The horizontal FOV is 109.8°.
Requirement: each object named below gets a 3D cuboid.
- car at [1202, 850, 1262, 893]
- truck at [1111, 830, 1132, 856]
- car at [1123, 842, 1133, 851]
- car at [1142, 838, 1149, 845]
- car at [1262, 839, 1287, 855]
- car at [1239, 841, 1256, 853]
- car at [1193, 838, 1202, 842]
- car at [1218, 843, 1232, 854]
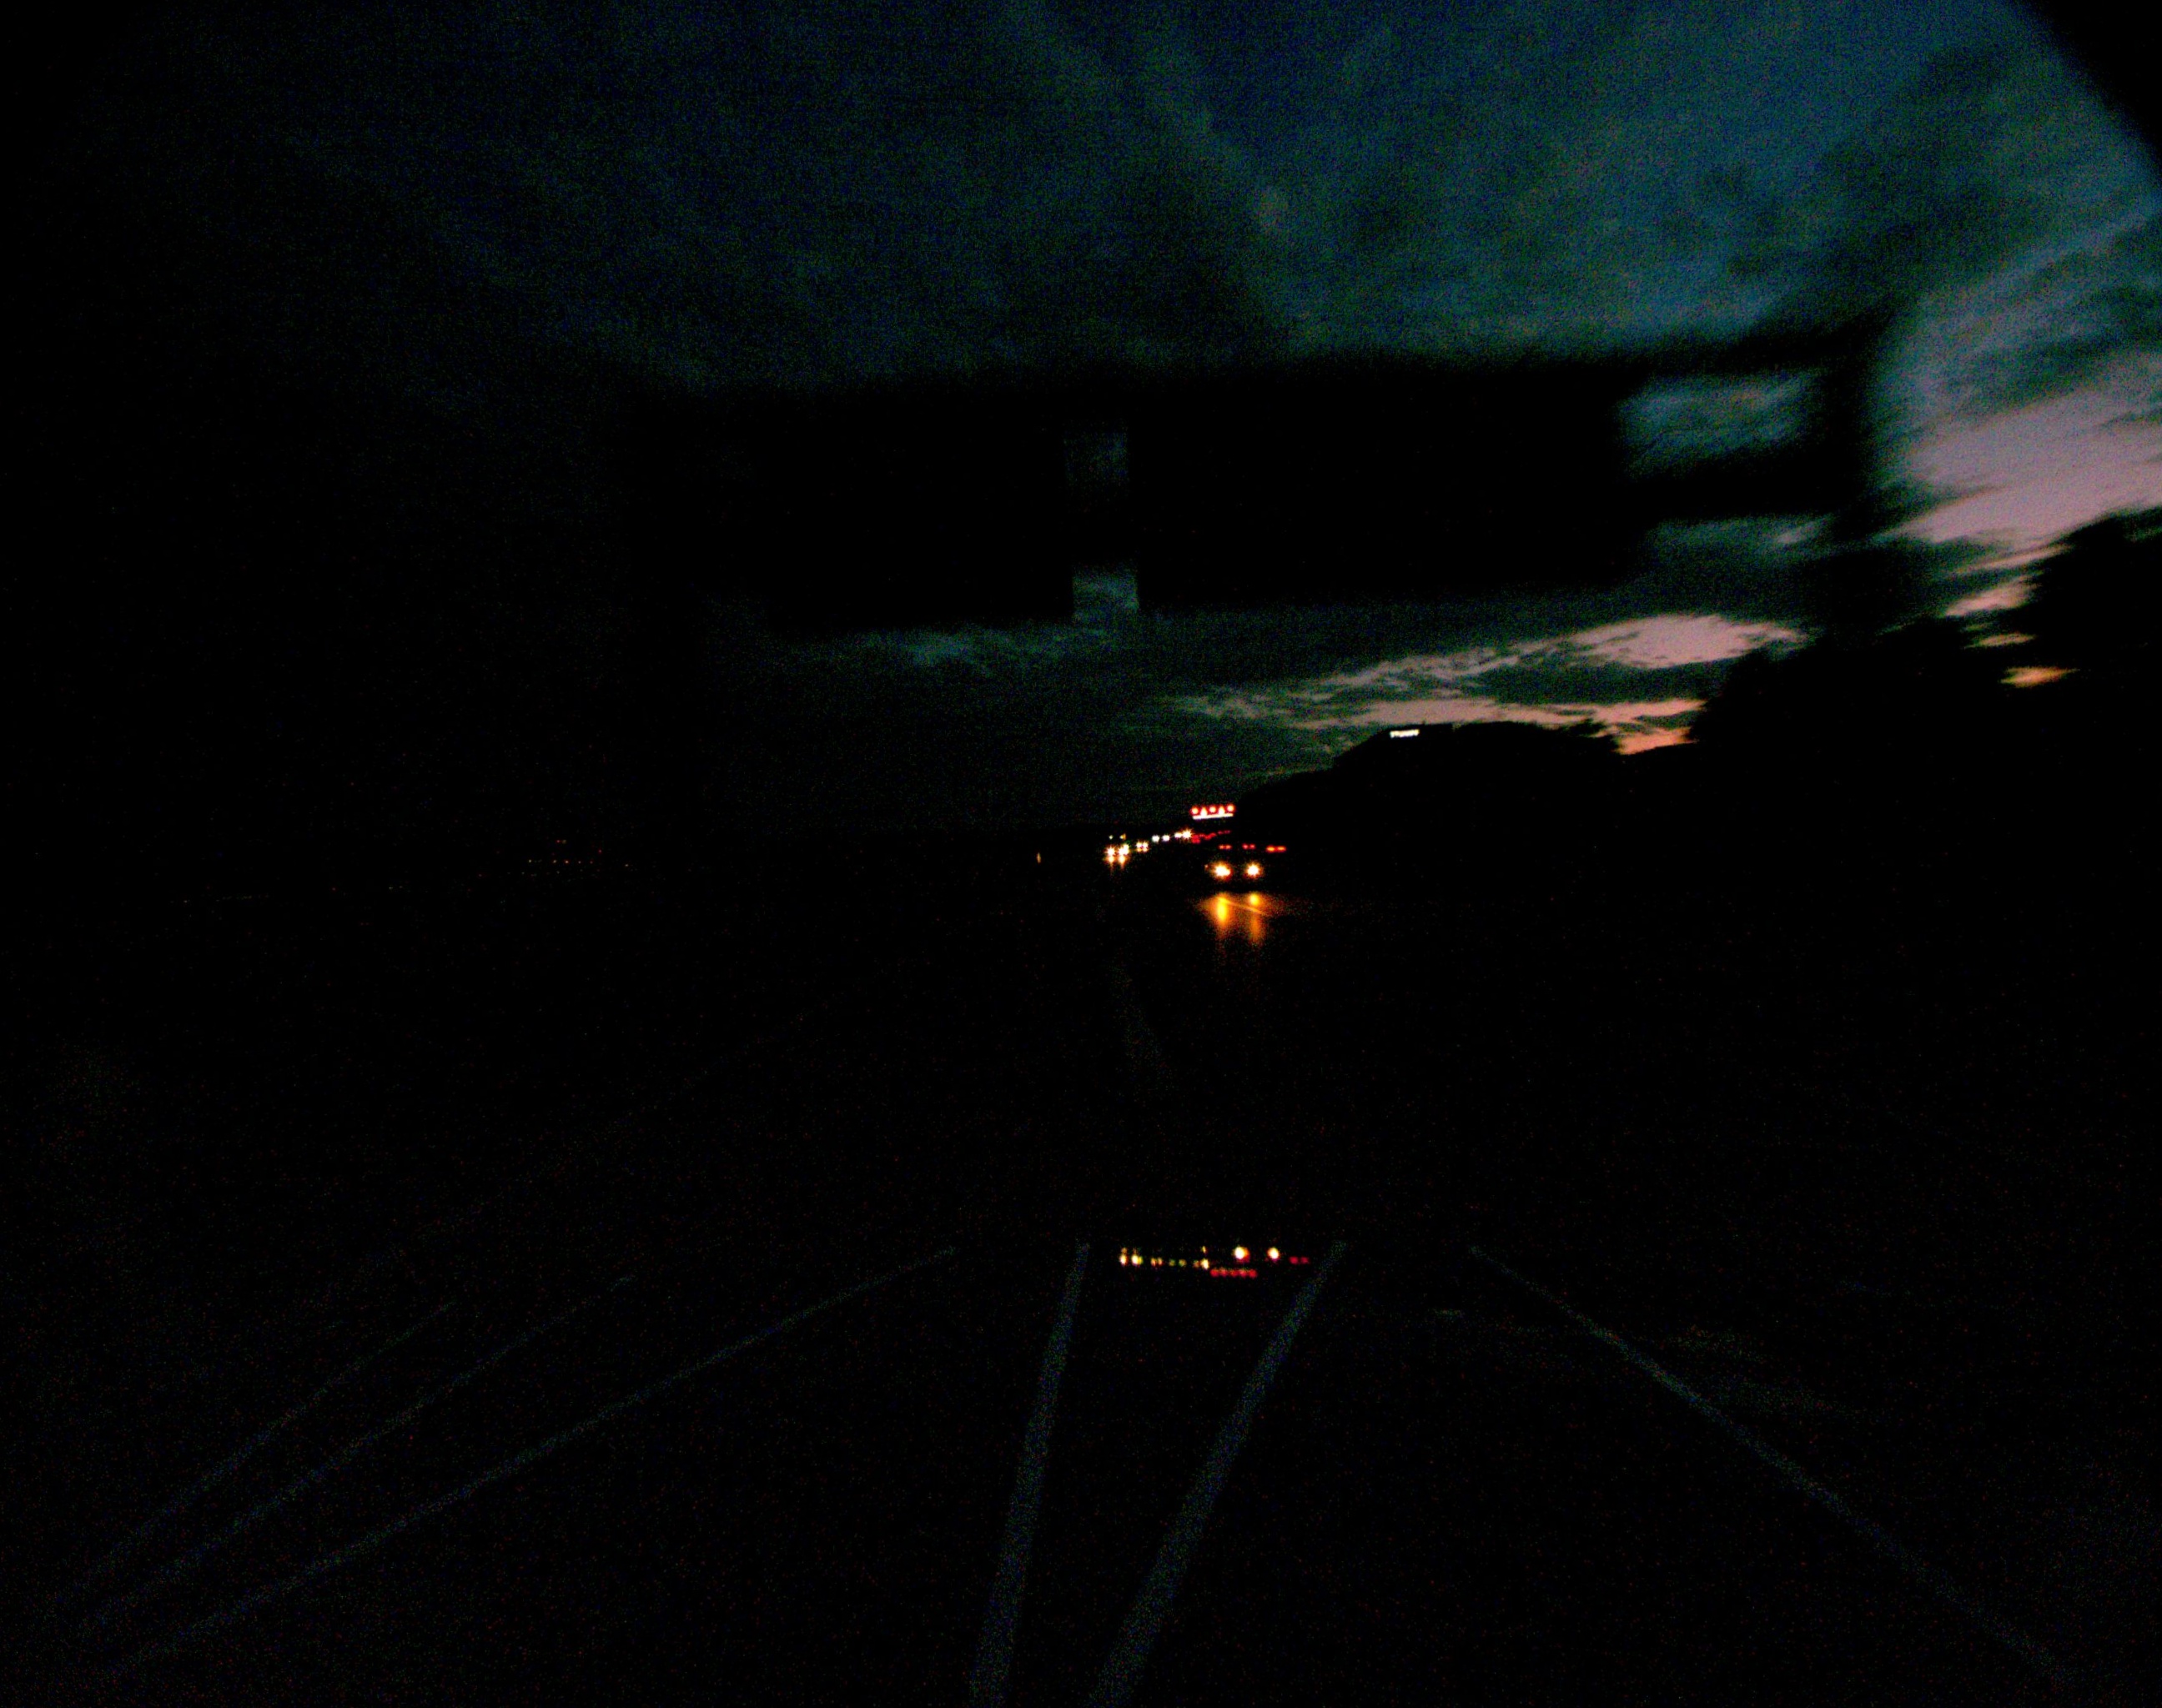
[{"bbox_3d":[6.188,0.665,31.490,1.717,1.471,3.999,-3,2,1],"label":"car"},{"bbox_3d":[7.426,-2.129,137.264,3.025,4.373,11.616,-2,2,6],"label":"truck"},{"bbox_3d":[11.900,-1.979,192.744,1.997,2.002,4.001,-2,2,9],"label":"car"},{"bbox_3d":[16.928,-3.162,198.532,1.652,1.655,3.775,-2,2,4],"label":"car"},{"bbox_3d":[24.940,-0.937,98.237,1.998,1.883,4.677,-3,2,0],"label":"car"},{"bbox_3d":[30.689,-1.281,140.037,1.998,1.883,5.056,-3,2,2],"label":"car"},{"bbox_3d":[36.476,-4.423,238.128,2.064,1.219,5.233,-2,2,3],"label":"car"},{"bbox_3d":[26.778,-1.070,141.497,1.879,1.883,5.056,-3,2,2],"label":"car"}]
